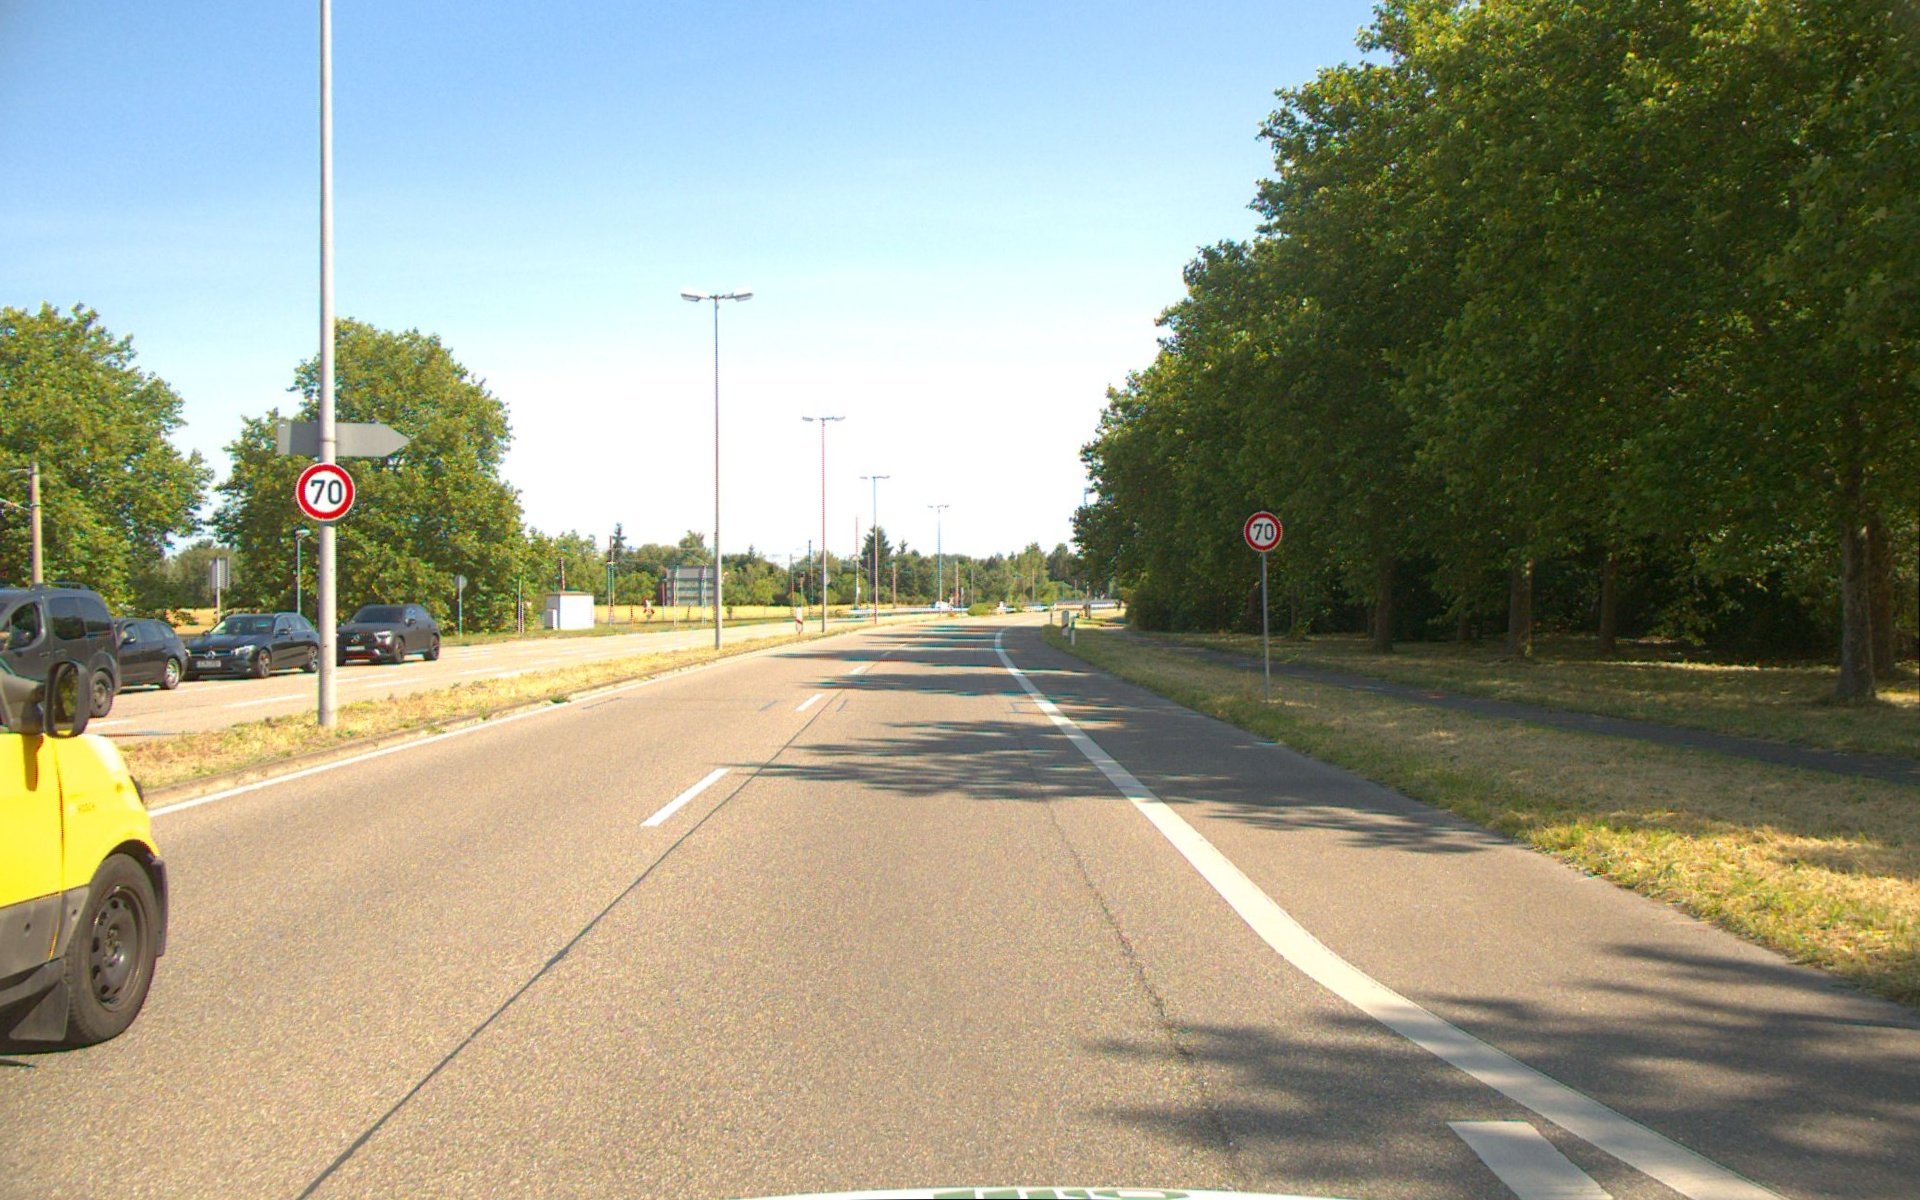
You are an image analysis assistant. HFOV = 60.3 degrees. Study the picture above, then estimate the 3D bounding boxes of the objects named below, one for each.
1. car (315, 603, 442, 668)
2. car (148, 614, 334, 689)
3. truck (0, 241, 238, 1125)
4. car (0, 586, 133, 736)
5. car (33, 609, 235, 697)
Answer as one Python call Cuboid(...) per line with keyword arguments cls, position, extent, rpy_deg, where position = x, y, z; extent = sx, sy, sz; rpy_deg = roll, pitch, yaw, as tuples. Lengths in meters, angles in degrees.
Cuboid(cls="car", position=(-16.211, 0.951, 46.358), extent=(1.942, 1.689, 4.554), rpy_deg=(-1, 0, 0))
Cuboid(cls="car", position=(-16.334, 1.129, 37.877), extent=(2.028, 1.555, 4.686), rpy_deg=(-1, 0, 2))
Cuboid(cls="truck", position=(-3.691, 0.225, 3.350), extent=(2.069, 2.500, 5.913), rpy_deg=(0, 0, -3))
Cuboid(cls="car", position=(-12.585, 0.757, 20.967), extent=(1.940, 1.811, 4.489), rpy_deg=(-1, 0, 0))
Cuboid(cls="car", position=(-16.226, 0.988, 32.758), extent=(1.825, 1.572, 4.405), rpy_deg=(-2, 0, -1))
